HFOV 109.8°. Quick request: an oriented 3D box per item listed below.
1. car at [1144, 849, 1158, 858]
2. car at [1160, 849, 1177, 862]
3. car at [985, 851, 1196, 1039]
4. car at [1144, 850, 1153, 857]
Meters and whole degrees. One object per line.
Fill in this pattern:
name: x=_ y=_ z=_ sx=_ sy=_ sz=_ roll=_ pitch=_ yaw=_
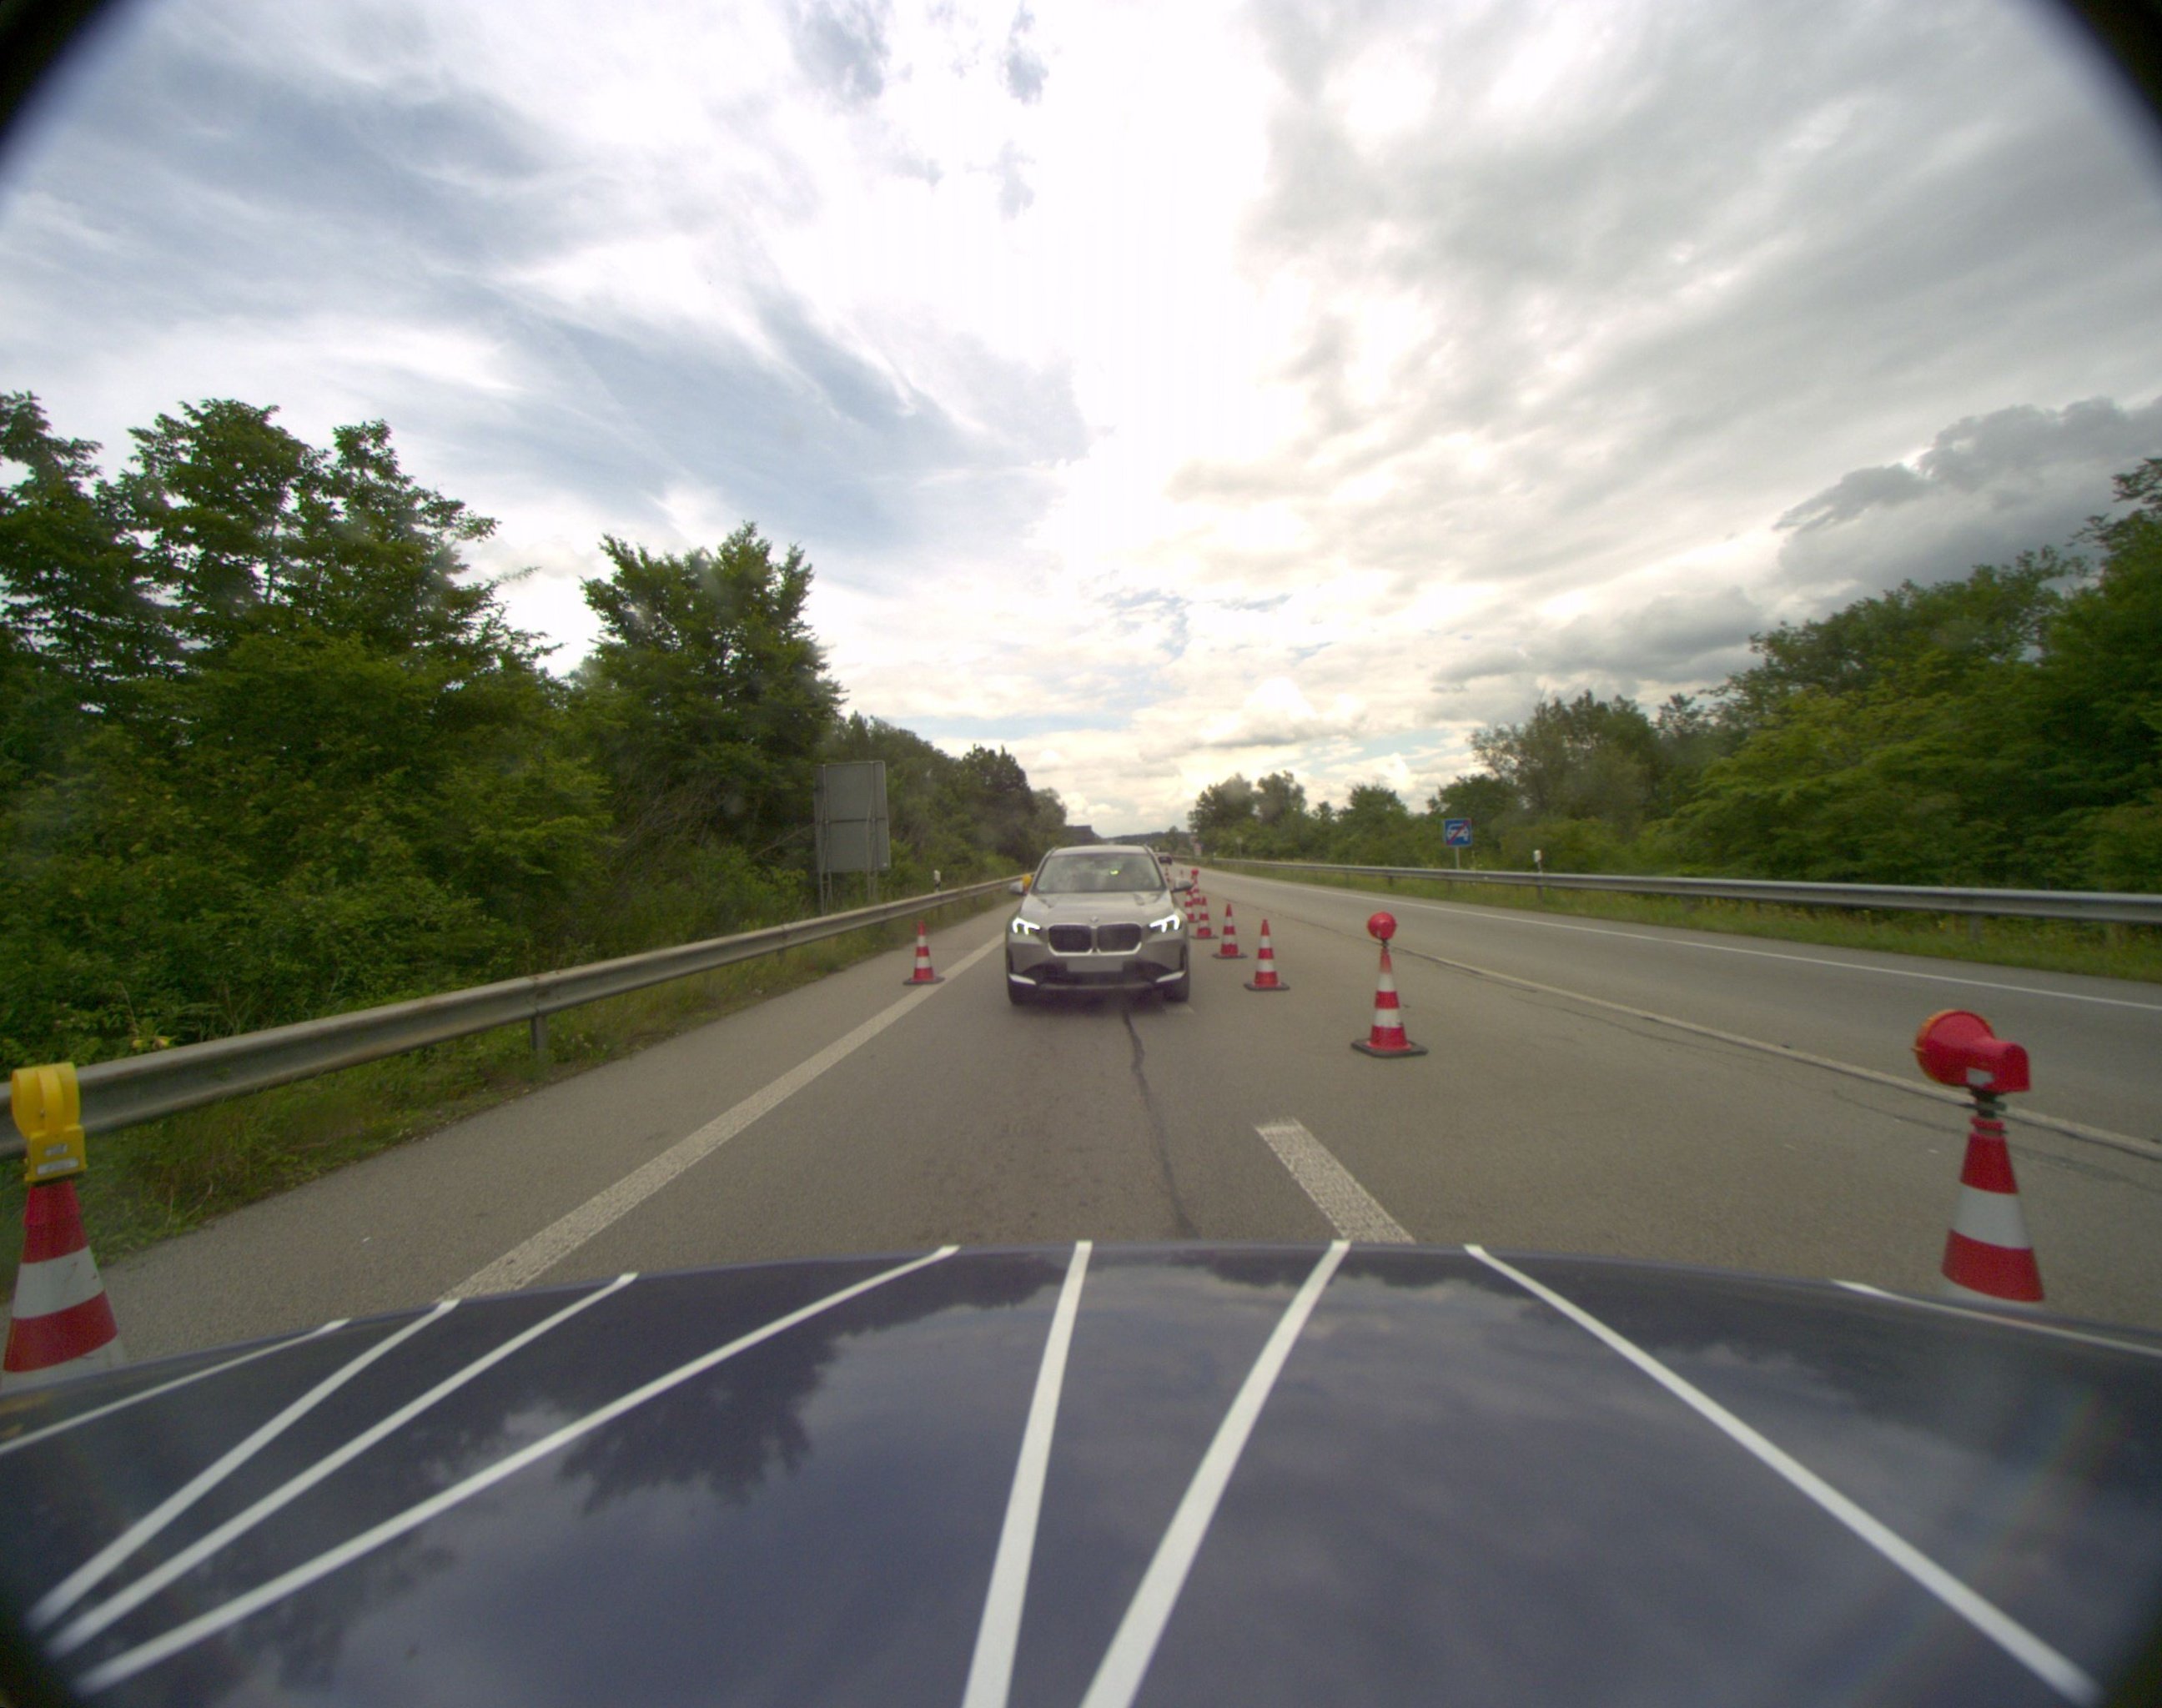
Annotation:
car: x=10.503 y=-0.083 z=114.583 sx=1.683 sy=1.394 sz=4.373 roll=-2 pitch=0 yaw=-1
car: x=10.104 y=0.146 z=88.314 sx=1.712 sy=1.428 sz=4.337 roll=-2 pitch=0 yaw=4
car: x=0.215 y=0.806 z=8.899 sx=1.817 sy=1.598 sz=4.434 roll=-2 pitch=0 yaw=4
car: x=17.952 y=-0.124 z=202.795 sx=2.034 sy=1.976 sz=5.316 roll=-2 pitch=0 yaw=3
